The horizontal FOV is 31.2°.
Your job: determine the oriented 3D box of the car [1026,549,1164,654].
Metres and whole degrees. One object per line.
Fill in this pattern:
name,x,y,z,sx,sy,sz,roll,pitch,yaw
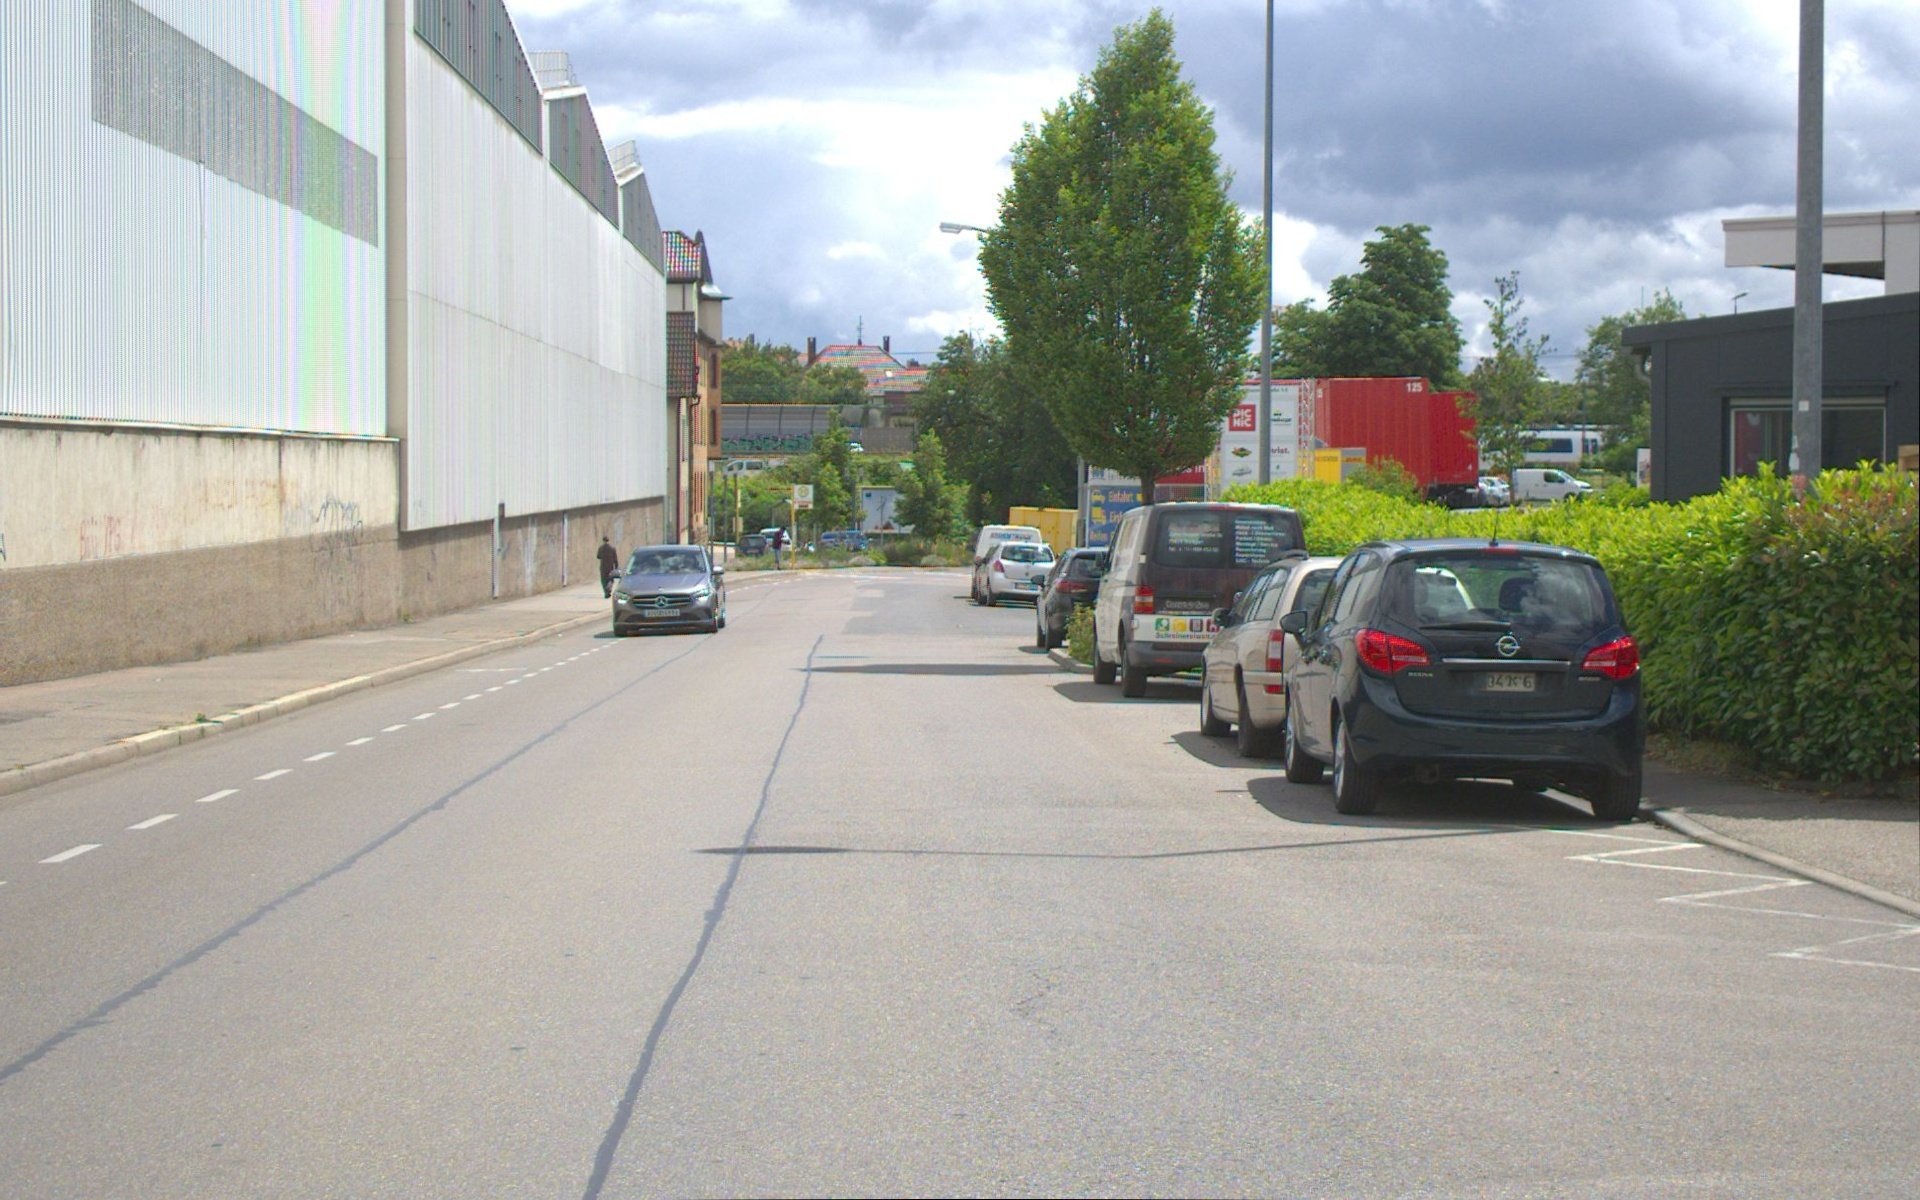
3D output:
car,1.918,-0.011,49.987,1.714,1.468,4.511,0,1,-2

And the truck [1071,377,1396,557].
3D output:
truck,7.464,-3.567,93.981,8.458,4.655,2.580,0,-1,20

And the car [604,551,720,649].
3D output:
car,-5.207,0.006,60.471,1.719,1.550,4.288,-3,0,-2

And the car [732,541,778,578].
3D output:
car,-8.731,-1.725,146.920,1.852,1.481,4.000,0,-1,-2

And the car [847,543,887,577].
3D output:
car,-4.295,-1.843,158.297,1.852,1.481,4.000,0,-1,-2

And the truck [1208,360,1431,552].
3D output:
truck,9.012,-3.543,87.183,2.573,4.434,7.864,0,-1,-19

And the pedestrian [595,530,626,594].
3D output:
pedestrian,-9.030,-0.973,88.877,0.713,1.632,0.777,0,-1,1

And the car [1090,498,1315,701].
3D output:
car,2.462,-0.041,36.095,1.869,1.983,5.144,0,1,-2

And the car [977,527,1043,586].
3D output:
car,1.300,-1.168,90.855,1.701,1.522,3.738,0,1,0

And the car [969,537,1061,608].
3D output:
car,1.258,-0.661,80.146,1.701,1.522,3.739,3,1,-5

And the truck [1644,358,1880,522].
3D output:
truck,22.205,-4.311,94.855,2.996,4.045,8.458,-1,-1,38

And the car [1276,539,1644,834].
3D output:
car,2.954,0.450,21.085,1.679,1.632,4.123,0,1,0

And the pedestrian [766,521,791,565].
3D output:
pedestrian,-6.892,-2.147,130.291,0.853,1.657,0.860,0,-1,3

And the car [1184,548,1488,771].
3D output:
car,2.741,0.376,26.001,1.655,1.535,4.734,0,1,-2

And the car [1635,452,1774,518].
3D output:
car,32.269,-4.976,149.023,5.644,2.667,1.998,0,-1,20
